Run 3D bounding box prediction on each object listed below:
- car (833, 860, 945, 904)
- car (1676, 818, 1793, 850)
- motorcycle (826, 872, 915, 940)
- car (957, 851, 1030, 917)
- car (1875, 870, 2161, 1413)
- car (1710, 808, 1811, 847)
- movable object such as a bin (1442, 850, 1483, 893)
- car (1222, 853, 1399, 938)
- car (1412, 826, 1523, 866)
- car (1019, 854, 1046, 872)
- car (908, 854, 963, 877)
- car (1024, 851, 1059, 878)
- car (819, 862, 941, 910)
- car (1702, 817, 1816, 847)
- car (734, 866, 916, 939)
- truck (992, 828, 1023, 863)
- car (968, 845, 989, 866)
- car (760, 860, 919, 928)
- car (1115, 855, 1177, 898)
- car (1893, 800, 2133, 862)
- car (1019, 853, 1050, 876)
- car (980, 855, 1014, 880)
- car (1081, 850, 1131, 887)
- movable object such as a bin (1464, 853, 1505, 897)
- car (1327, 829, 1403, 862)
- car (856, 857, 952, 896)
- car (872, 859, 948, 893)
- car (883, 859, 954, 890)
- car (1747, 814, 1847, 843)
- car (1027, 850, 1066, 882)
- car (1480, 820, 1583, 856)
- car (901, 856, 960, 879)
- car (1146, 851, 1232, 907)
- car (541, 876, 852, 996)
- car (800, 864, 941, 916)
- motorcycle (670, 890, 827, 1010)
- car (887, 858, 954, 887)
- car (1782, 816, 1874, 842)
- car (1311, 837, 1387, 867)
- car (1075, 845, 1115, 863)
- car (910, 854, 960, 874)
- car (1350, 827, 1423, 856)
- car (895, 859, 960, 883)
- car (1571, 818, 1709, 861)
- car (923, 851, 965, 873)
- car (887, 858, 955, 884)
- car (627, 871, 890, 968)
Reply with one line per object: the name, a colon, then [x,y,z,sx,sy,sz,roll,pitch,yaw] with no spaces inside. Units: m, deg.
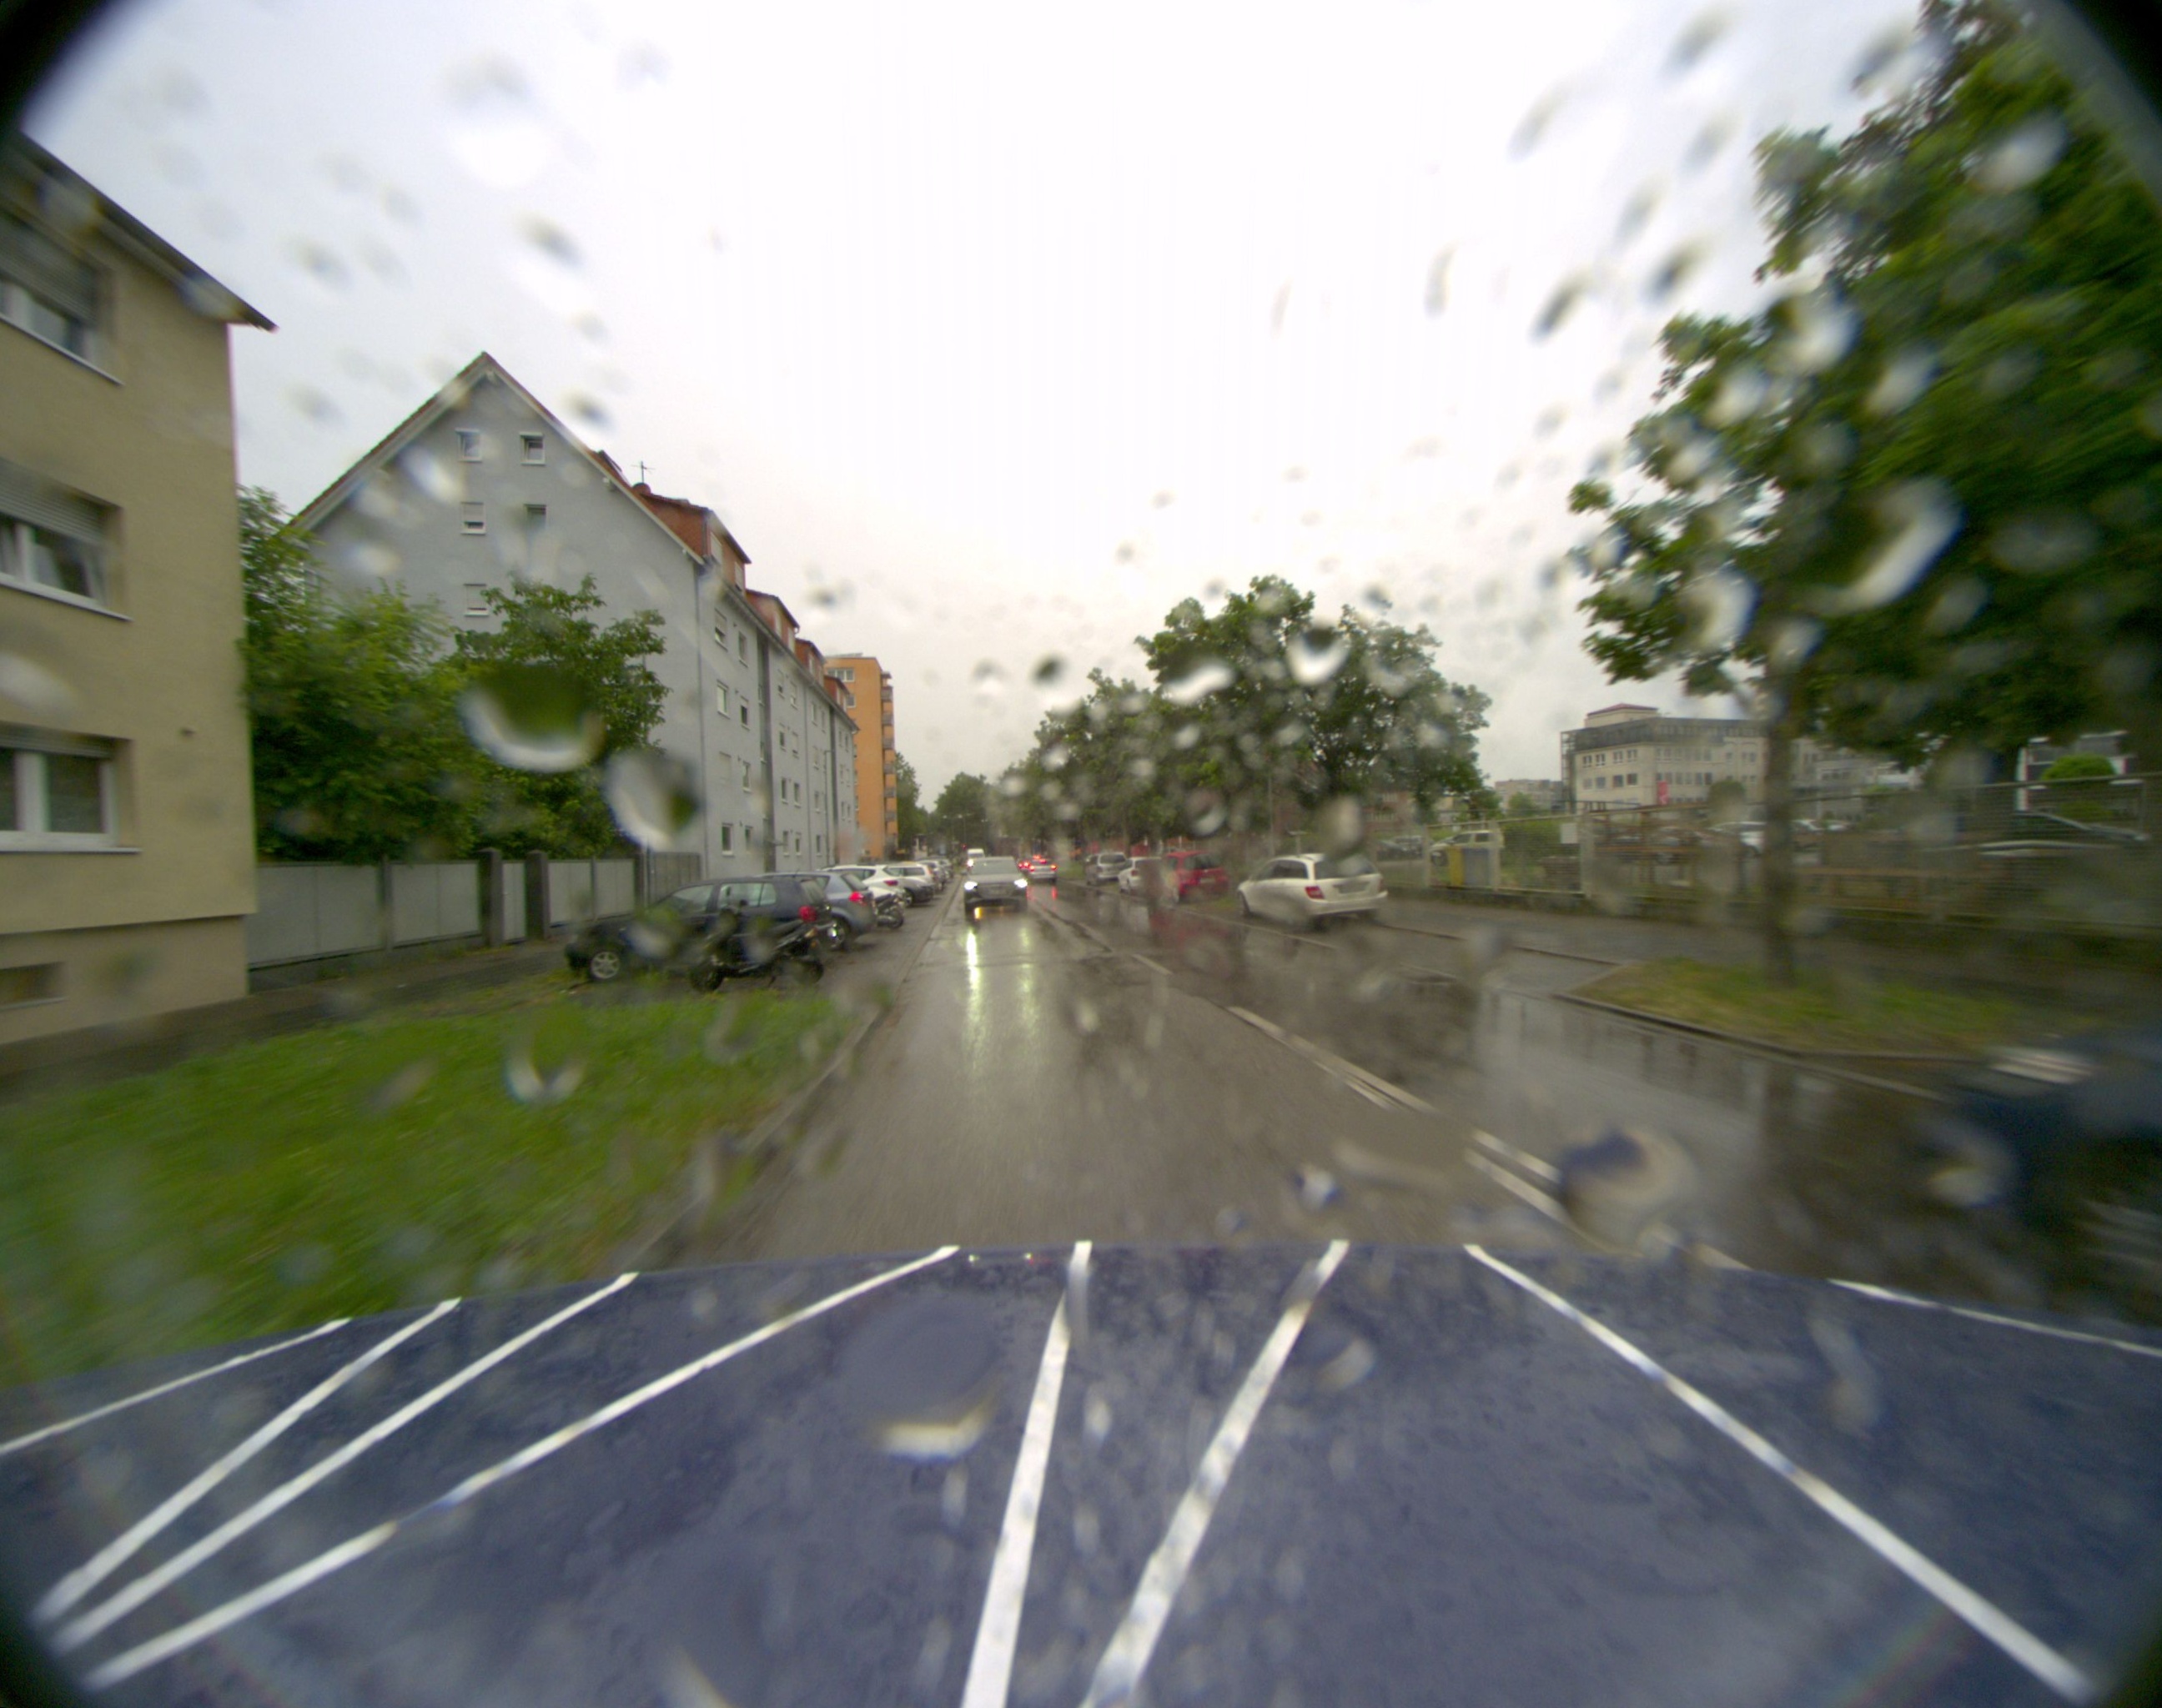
car: [-7.761,1.113,30.995,4.173,1.468,1.649,-3,1,-7]
car: [31.938,-0.943,37.227,2.003,1.344,3.990,-3,1,-35]
motorcycle: [-4.705,1.148,17.092,1.768,1.365,0.734,-3,1,-7]
car: [-2.711,0.832,23.395,1.962,1.702,4.171,-3,1,-7]
car: [4.054,0.825,0.956,1.711,1.492,3.942,0,1,-9]
car: [38.620,-1.476,43.247,2.003,2.002,3.989,-4,1,-38]
movable object such as a bin: [9.142,0.418,18.225,0.547,0.980,0.713,-3,1,-7]
car: [4.711,0.759,16.448,1.780,1.452,4.676,-3,1,-9]
car: [17.521,-0.331,34.574,2.070,1.660,3.989,-4,1,-40]
car: [-4.377,0.753,67.888,2.072,1.436,4.171,-3,1,-7]
car: [-11.874,0.906,62.175,4.173,1.596,1.649,-3,1,-7]
car: [-2.804,0.692,53.006,2.072,1.732,4.171,-3,1,-7]
car: [-7.523,1.178,28.853,4.173,1.468,1.918,-3,1,-7]
car: [34.826,-1.109,39.120,2.003,1.344,3.990,-3,1,-35]
car: [-6.226,1.148,18.908,3.926,1.472,1.855,-3,1,-7]
truck: [-10.249,-1.158,104.732,3.835,4.360,10.777,-3,1,-7]
car: [-11.860,0.133,88.071,2.195,2.243,4.880,-3,1,-7]
car: [-6.662,1.070,21.323,3.926,1.605,1.690,-3,1,-7]
car: [2.492,0.821,29.905,1.695,1.445,3.716,-3,1,-6]
car: [25.037,-0.577,20.550,1.763,1.486,3.990,-4,1,-35]
car: [-3.730,0.813,60.242,2.072,1.664,4.171,-3,1,-7]
car: [-5.229,0.800,46.914,1.962,1.382,4.171,-3,1,-7]
car: [1.206,0.703,38.666,1.883,1.672,4.034,-3,1,-7]
movable object such as a bin: [9.224,0.470,17.394,0.539,0.943,0.637,-3,1,-7]
car: [17.924,-0.510,48.014,2.003,1.871,3.989,-4,1,-40]
car: [-8.327,1.041,36.058,4.173,1.561,1.649,-3,1,-7]
car: [-8.758,1.123,39.161,3.620,1.479,1.540,-3,1,-7]
car: [-8.892,1.101,41.844,3.620,1.479,1.540,-3,1,-7]
car: [41.608,-1.462,44.227,2.003,1.434,3.989,-4,1,-39]
car: [-2.210,0.708,47.215,2.072,1.732,4.171,-3,1,-6]
car: [22.880,-0.784,38.672,2.070,1.660,3.989,-4,1,-40]
car: [-11.332,1.018,57.348,4.173,1.445,1.649,-3,1,-7]
car: [3.396,0.734,24.575,1.629,1.589,3.794,-3,1,-10]
car: [-5.613,1.159,11.544,3.763,1.446,1.800,-3,-1,-7]
car: [-7.239,1.206,26.511,4.391,1.468,2.049,-3,1,-7]
motorcycle: [-4.098,1.157,9.467,1.594,1.317,0.694,-3,0,-8]
car: [-9.334,1.081,44.465,3.620,1.479,1.540,-3,1,-7]
car: [47.806,-1.594,48.711,2.003,1.434,3.989,-4,1,-39]
car: [16.415,-0.110,46.606,1.774,1.660,3.989,-4,1,-40]
car: [1.505,-0.006,82.871,4.007,1.752,1.994,-4,1,-43]
car: [-12.888,0.864,67.388,4.173,1.596,1.649,-3,1,-7]
car: [19.707,-0.797,49.157,1.774,1.660,3.989,-4,1,-40]
car: [-10.494,1.153,52.199,4.173,1.445,1.649,-3,1,-7]
car: [21.842,-0.537,29.826,1.763,1.486,3.990,-4,1,-35]
car: [-13.732,0.770,76.360,3.999,2.002,1.999,-3,1,-6]
car: [-10.372,1.111,49.524,4.173,1.445,1.649,-3,1,-7]
car: [-5.795,1.146,14.156,4.066,1.446,1.933,-3,-1,-7]
